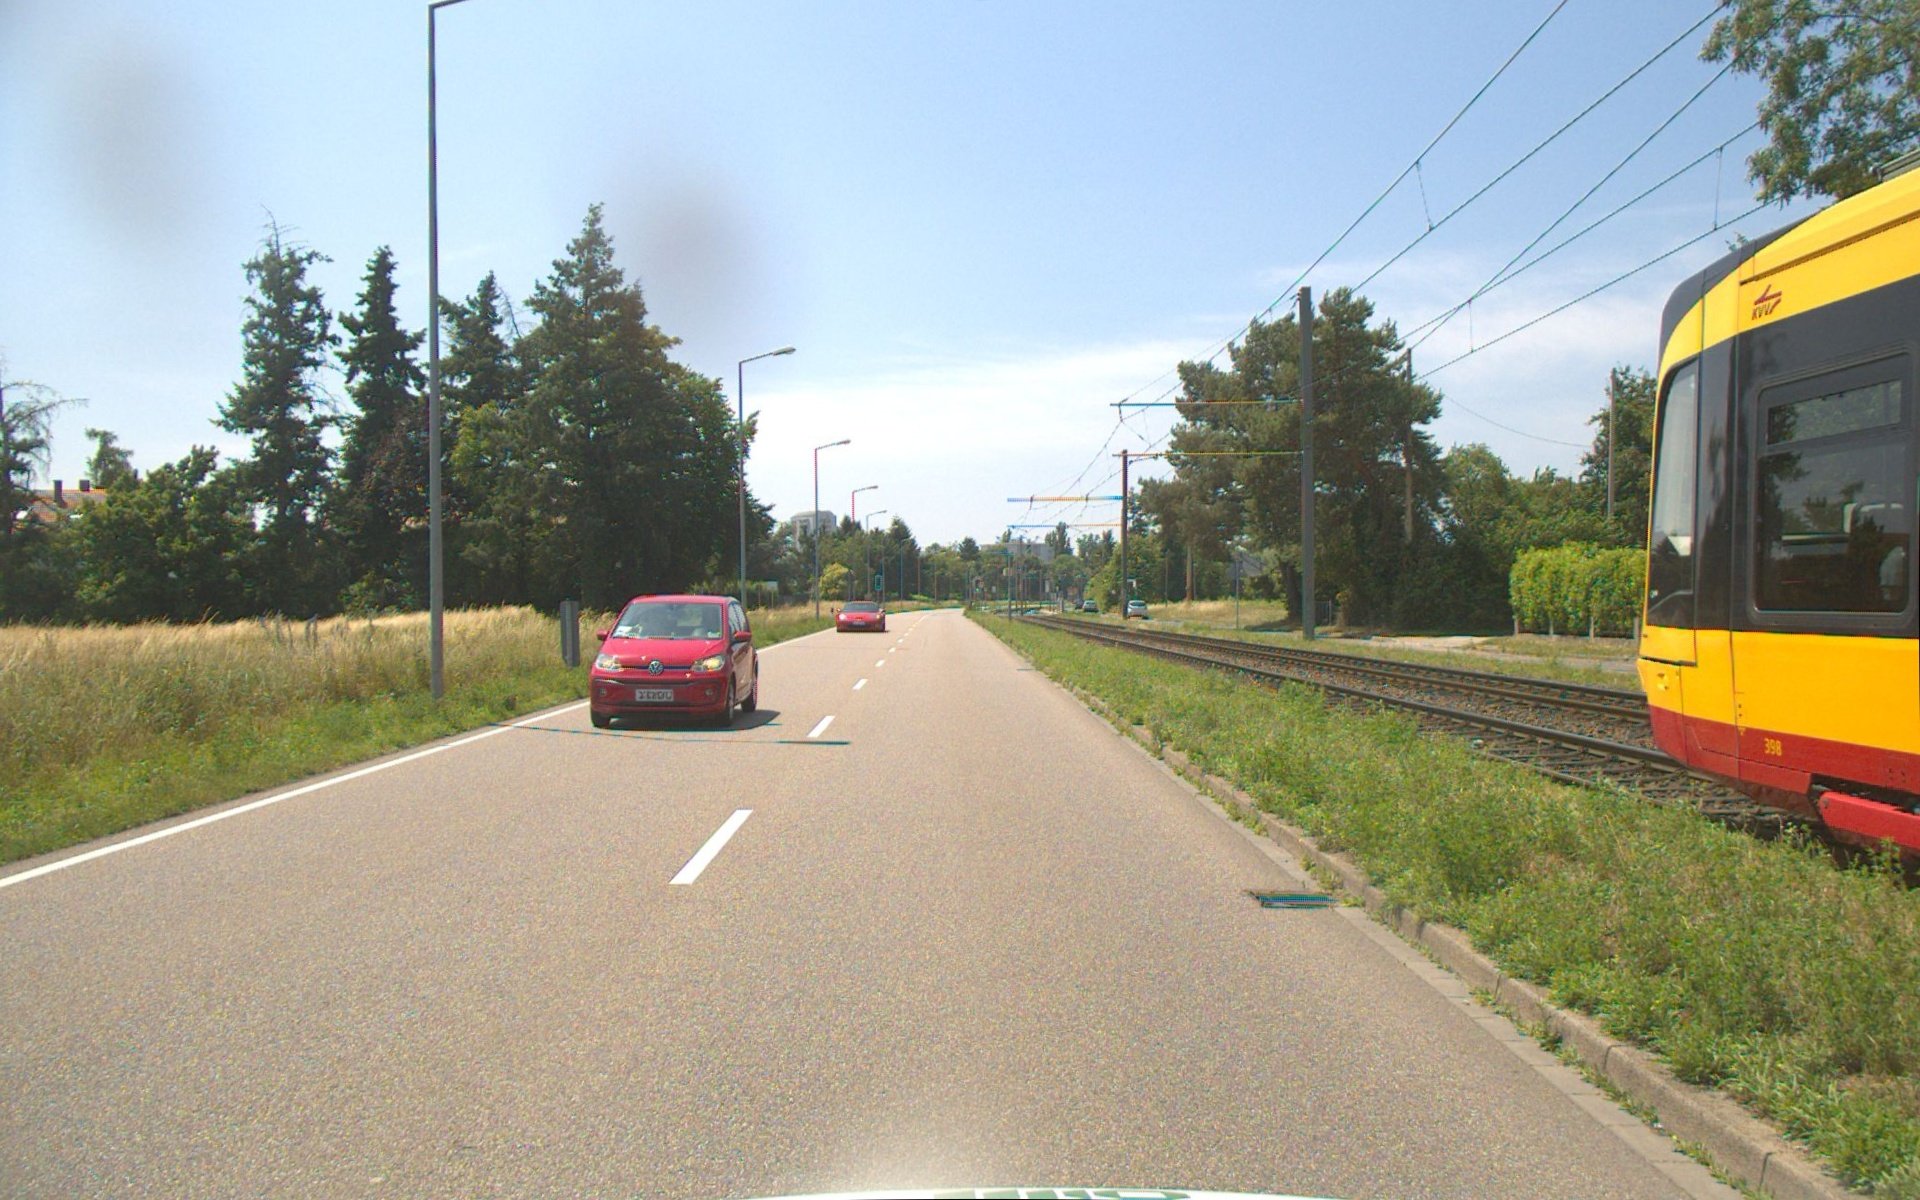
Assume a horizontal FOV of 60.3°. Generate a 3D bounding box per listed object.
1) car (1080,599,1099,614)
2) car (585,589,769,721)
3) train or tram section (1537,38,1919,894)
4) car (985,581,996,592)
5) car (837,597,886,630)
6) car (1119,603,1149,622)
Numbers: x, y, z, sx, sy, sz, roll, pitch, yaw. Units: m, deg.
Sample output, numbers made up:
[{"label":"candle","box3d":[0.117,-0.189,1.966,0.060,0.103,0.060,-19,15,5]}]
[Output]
[{"label":"car","box3d":[15.202,0.815,194.398,1.876,1.691,3.999,-1,-1,-1]},{"label":"car","box3d":[-3.329,0.630,20.079,1.612,1.424,3.843,-1,-1,-1]},{"label":"train or tram section","box3d":[5.590,-0.614,6.231,2.709,3.754,11.183,-1,-1,-1]},{"label":"car","box3d":[4.581,-2.057,248.770,1.520,1.613,3.568,-1,-1,-1]},{"label":"car","box3d":[-4.028,0.562,68.106,1.770,1.308,4.285,-1,-1,-1]},{"label":"car","box3d":[14.582,1.085,138.791,1.953,1.534,3.999,-1,-1,-1]}]
